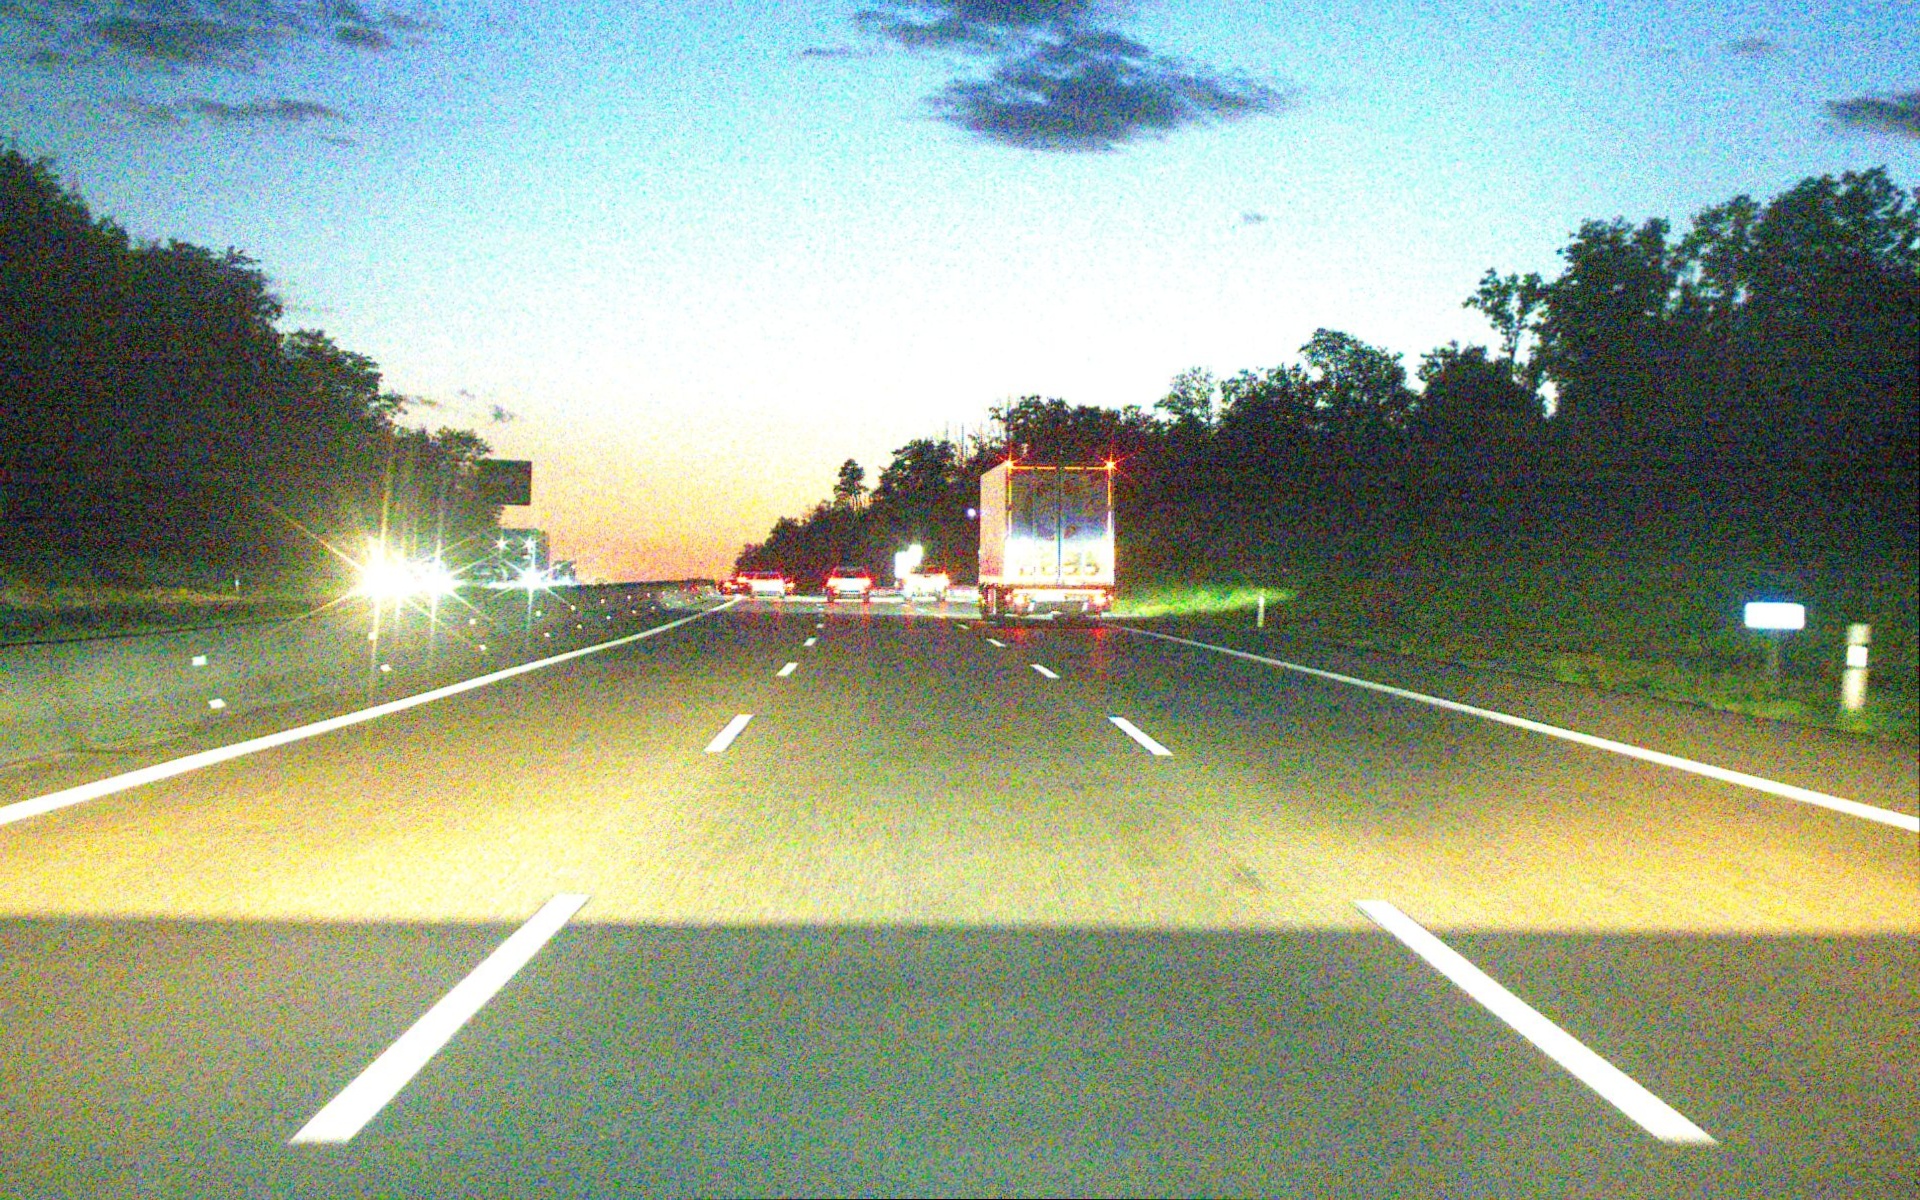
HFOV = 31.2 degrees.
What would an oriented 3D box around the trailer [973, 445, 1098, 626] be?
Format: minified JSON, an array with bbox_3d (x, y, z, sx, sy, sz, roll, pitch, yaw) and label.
[{"bbox_3d":[1.816,-1.595,89.657,2.829,4.242,17.049,1,0,0],"label":"trailer"}]

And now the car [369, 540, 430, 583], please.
[{"bbox_3d":[-23.600,-1.619,144.920,1.913,1.741,4.882,1,1,-2],"label":"car"}]

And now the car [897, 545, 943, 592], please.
[{"bbox_3d":[-1.888,-1.489,162.573,1.993,2.110,4.000,1,-1,-3],"label":"car"}]

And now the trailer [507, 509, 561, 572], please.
[{"bbox_3d":[-28.217,-3.932,228.066,2.859,4.057,8.872,1,0,-3],"label":"trailer"}]

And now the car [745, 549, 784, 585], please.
[{"bbox_3d":[-10.259,-1.734,180.886,1.993,1.788,4.000,1,-1,-3],"label":"car"}]

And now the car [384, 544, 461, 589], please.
[{"bbox_3d":[-19.313,-1.216,123.709,2.244,1.592,4.888,1,1,-3],"label":"car"}]

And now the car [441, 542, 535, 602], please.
[{"bbox_3d":[-14.056,-0.856,102.644,2.244,1.713,4.888,1,1,-2],"label":"car"}]

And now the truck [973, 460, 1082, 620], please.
[{"bbox_3d":[1.810,-1.639,94.963,2.829,4.242,6.263,1,0,0],"label":"truck"}]

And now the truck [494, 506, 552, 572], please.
[{"bbox_3d":[-27.709,-3.836,218.336,2.859,4.057,10.636,1,0,-3],"label":"truck"}]

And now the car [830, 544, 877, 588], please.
[{"bbox_3d":[-4.609,-1.466,149.309,1.993,1.788,4.000,1,-1,-1],"label":"car"}]
